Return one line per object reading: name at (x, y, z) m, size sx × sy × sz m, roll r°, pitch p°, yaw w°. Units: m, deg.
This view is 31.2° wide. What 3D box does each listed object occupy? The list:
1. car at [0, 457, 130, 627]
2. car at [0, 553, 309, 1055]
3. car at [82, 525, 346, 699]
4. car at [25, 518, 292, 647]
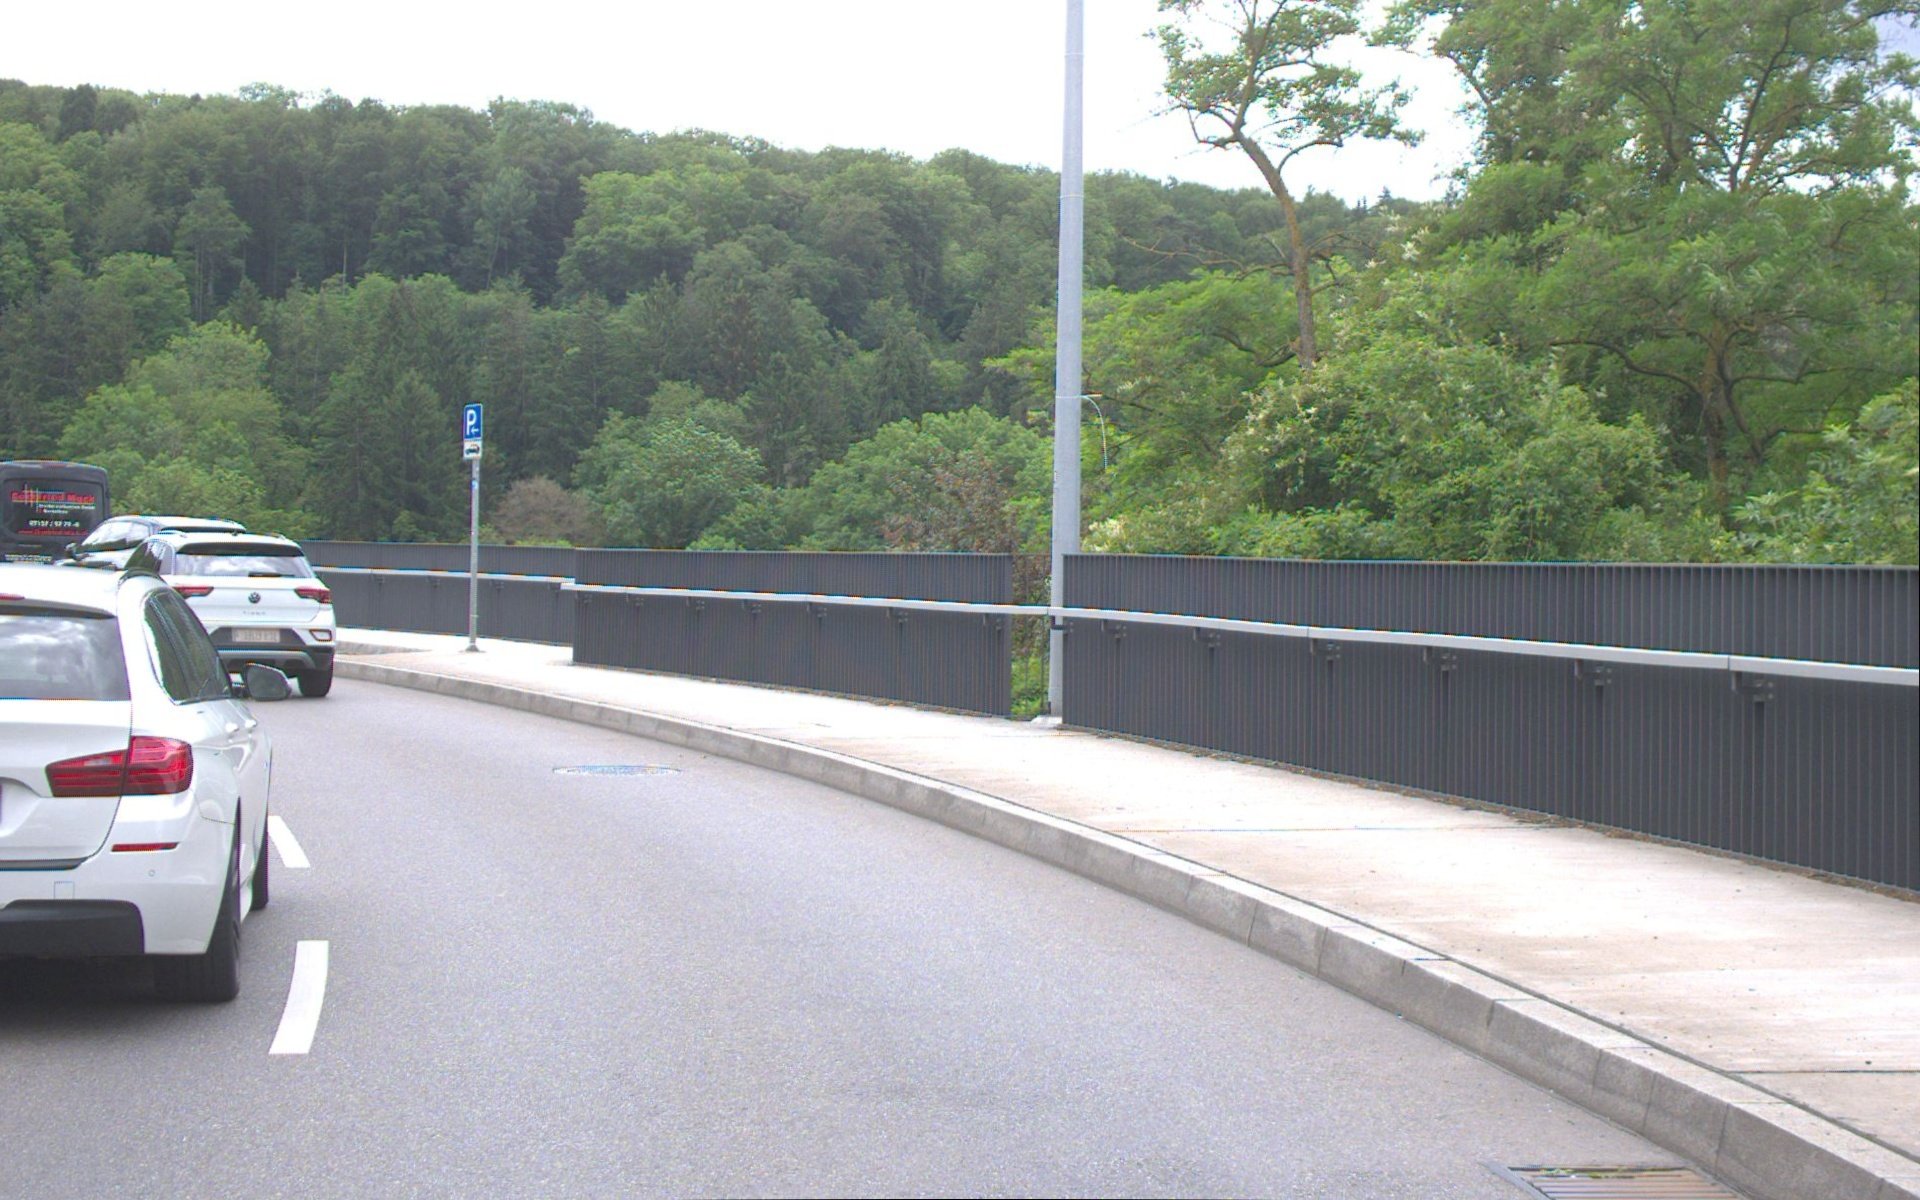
car at (-15.162, -0.961, 53.741) m, size 2.167 × 2.513 × 5.770 m, roll -1°, pitch 2°, yaw -36°
car at (-3.425, 0.580, 12.428) m, size 1.827 × 1.454 × 4.487 m, roll 0°, pitch 1°, yaw -7°
car at (-7.391, 0.081, 33.801) m, size 1.827 × 1.600 × 4.001 m, roll 0°, pitch 1°, yaw -23°
car at (-11.277, -0.269, 48.115) m, size 1.994 × 1.712 × 5.049 m, roll 0°, pitch 1°, yaw -34°
